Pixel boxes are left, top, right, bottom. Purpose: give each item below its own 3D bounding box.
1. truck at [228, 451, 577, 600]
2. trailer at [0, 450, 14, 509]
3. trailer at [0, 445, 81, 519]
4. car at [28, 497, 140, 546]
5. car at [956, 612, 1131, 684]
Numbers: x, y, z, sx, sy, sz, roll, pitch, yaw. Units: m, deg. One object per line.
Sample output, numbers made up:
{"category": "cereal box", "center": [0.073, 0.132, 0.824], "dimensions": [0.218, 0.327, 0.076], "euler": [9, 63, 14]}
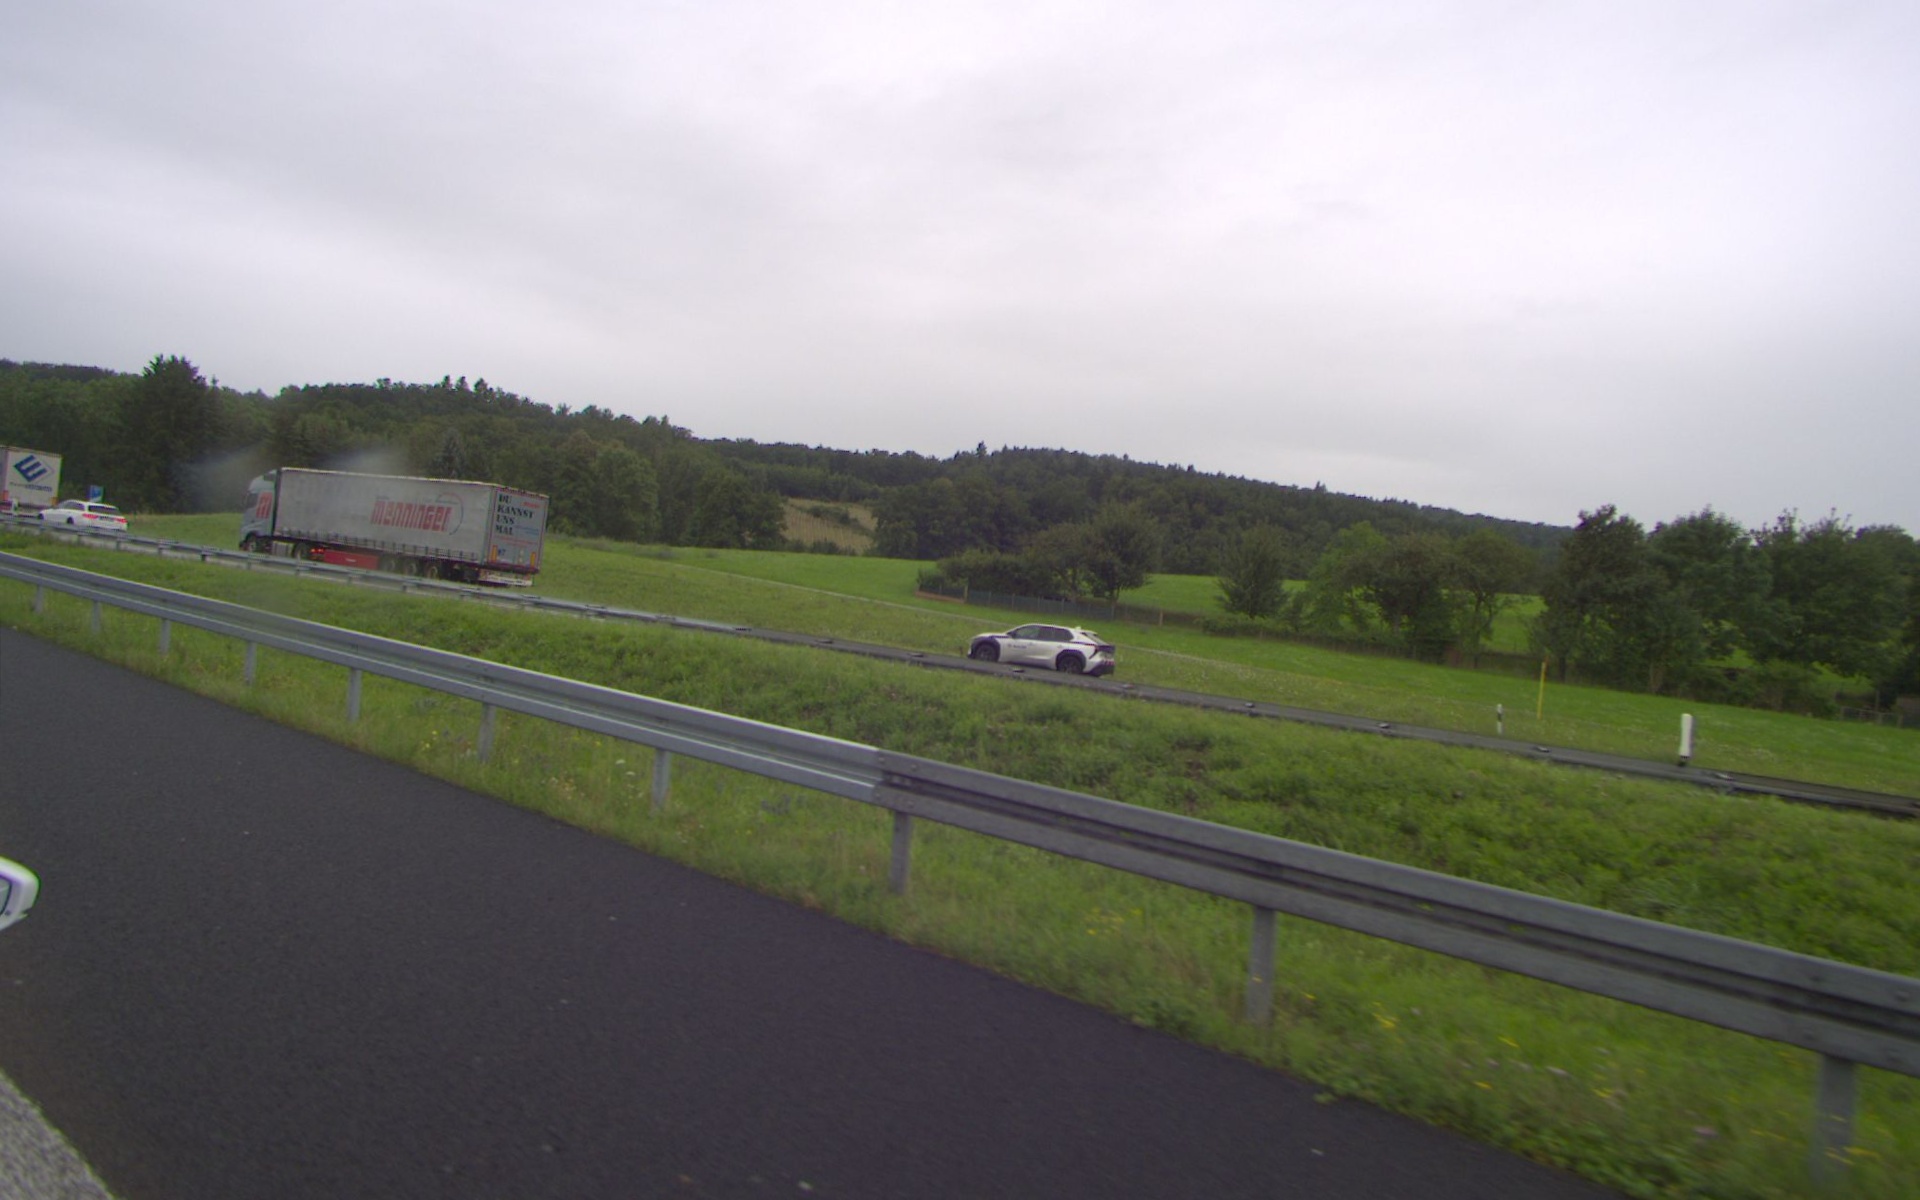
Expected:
{"category": "truck", "center": [-23.615, -3.263, 41.971], "dimensions": [16.589, 4.595, 3.830], "euler": [7, -1, 27]}
{"category": "trailer", "center": [-63.309, -7.967, 62.979], "dimensions": [8.270, 3.567, 2.947], "euler": [7, -2, 26]}
{"category": "trailer", "center": [-56.089, -7.107, 59.424], "dimensions": [7.941, 3.567, 3.088], "euler": [7, -2, 26]}
{"category": "car", "center": [-40.051, -3.587, 45.989], "dimensions": [4.989, 1.636, 1.999], "euler": [7, -1, 26]}
{"category": "car", "center": [2.551, 1.472, 31.079], "dimensions": [4.944, 1.522, 1.823], "euler": [7, 0, 28]}
